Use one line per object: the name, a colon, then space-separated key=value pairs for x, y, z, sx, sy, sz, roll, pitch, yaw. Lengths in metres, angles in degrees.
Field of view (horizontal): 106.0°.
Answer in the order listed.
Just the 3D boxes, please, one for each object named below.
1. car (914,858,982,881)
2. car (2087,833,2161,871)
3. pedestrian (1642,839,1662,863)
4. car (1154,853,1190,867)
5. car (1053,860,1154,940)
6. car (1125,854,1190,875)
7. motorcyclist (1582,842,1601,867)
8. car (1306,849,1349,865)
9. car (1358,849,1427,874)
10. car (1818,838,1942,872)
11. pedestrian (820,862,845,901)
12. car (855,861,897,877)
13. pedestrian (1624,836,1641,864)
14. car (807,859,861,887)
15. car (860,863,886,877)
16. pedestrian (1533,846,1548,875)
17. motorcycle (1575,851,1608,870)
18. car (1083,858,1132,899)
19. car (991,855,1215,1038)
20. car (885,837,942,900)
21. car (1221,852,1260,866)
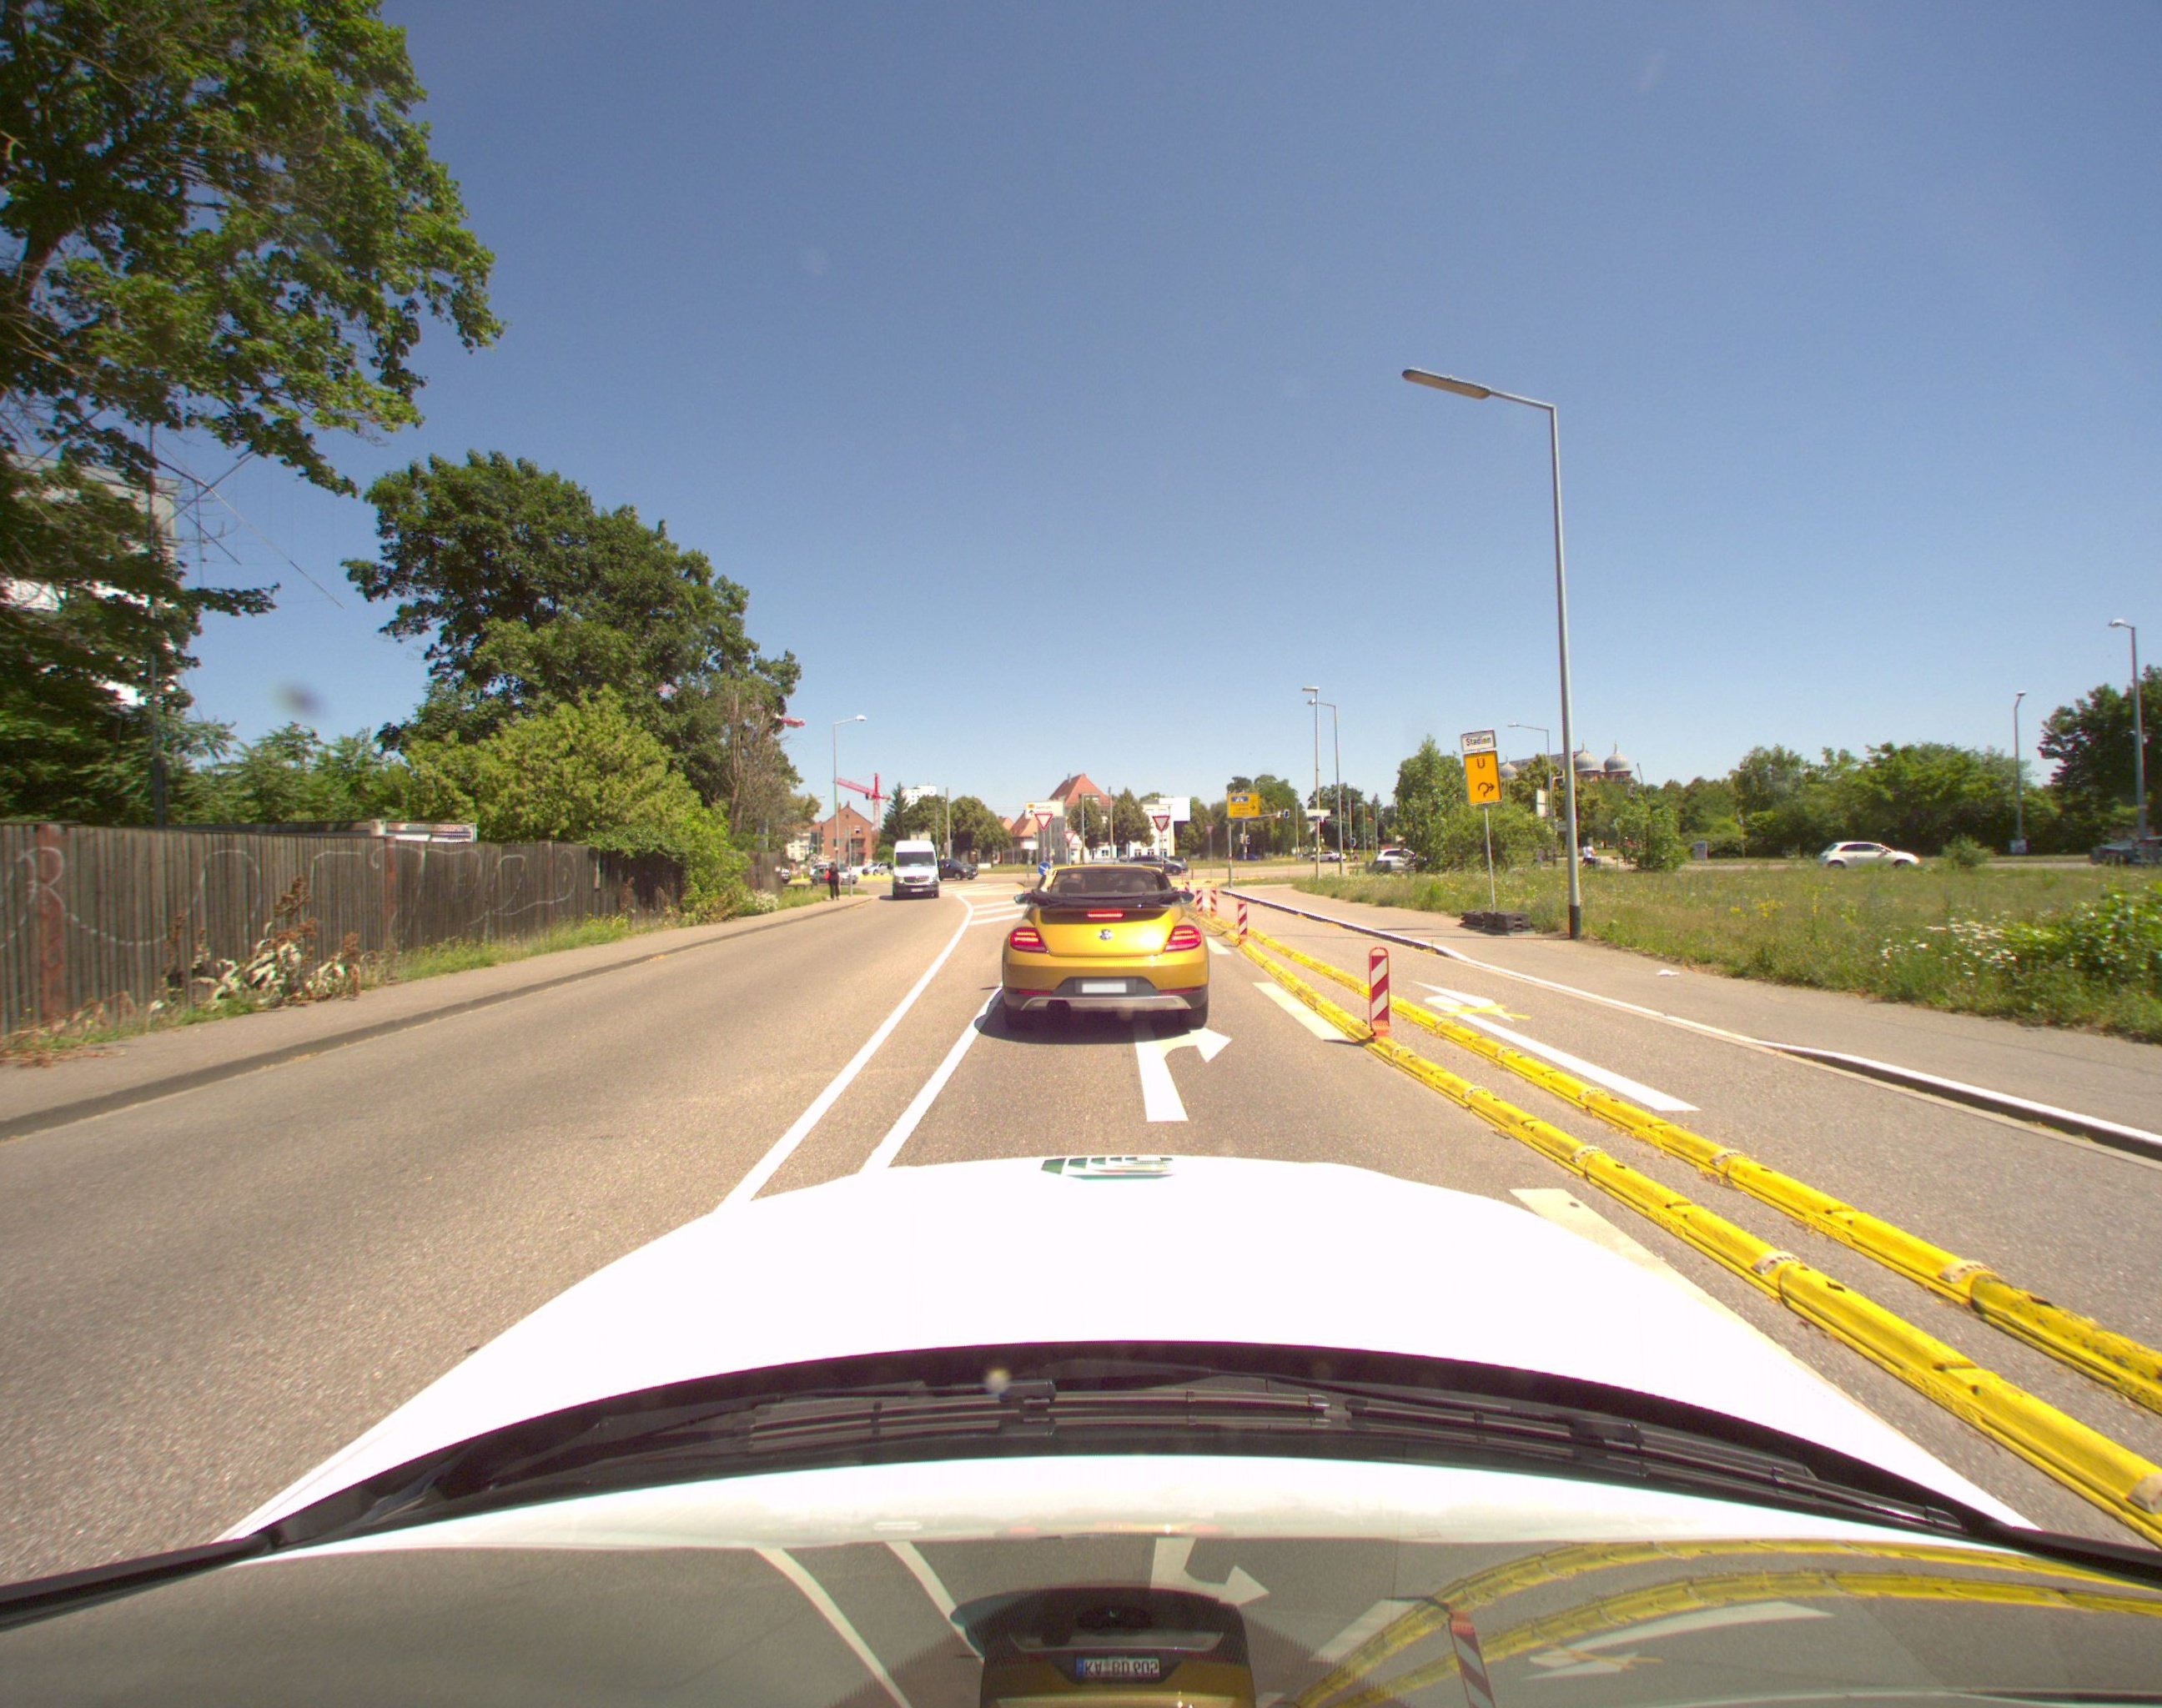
car: x=-9.671 y=1.106 z=59.396 sx=4.403 sy=1.596 sz=2.007 roll=-1 pitch=-1 yaw=12
car: x=44.598 y=-0.082 z=33.132 sx=4.352 sy=1.552 sz=1.751 roll=0 pitch=0 yaw=39
pedestrian: x=38.362 y=-0.207 z=54.723 sx=0.789 sy=1.563 sz=0.823 roll=-1 pitch=-1 yaw=3
car: x=12.968 y=0.912 z=116.423 sx=4.883 sy=1.786 sz=2.033 roll=-3 pitch=-1 yaw=12
car: x=0.488 y=0.857 z=16.984 sx=1.841 sy=1.442 sz=4.002 roll=-1 pitch=-1 yaw=2
car: x=5.340 y=0.729 z=56.604 sx=4.161 sy=1.391 sz=1.910 roll=-1 pitch=-1 yaw=17
motorcyclist: x=26.261 y=0.031 z=41.903 sx=0.616 sy=1.289 sz=0.576 roll=0 pitch=-1 yaw=-27
car: x=31.169 y=0.414 z=103.181 sx=2.033 sy=1.786 sz=5.130 roll=-2 pitch=-1 yaw=-30
car: x=20.137 y=0.462 z=52.795 sx=3.962 sy=1.552 sz=1.745 roll=-1 pitch=-1 yaw=10
car: x=38.365 y=0.082 z=39.232 sx=3.948 sy=1.552 sz=1.751 roll=-1 pitch=-1 yaw=33
pedestrian: x=-10.376 y=1.134 z=34.032 sx=0.806 sy=1.563 sz=0.876 roll=-1 pitch=-1 yaw=-2
car: x=-26.743 y=1.931 z=106.451 sx=2.001 sy=1.786 sz=4.931 roll=-3 pitch=-1 yaw=43
pedestrian: x=36.869 y=-0.281 z=54.464 sx=0.647 sy=1.870 sz=0.737 roll=-1 pitch=-1 yaw=3
car: x=-18.085 y=1.421 z=59.598 sx=3.630 sy=1.850 sz=1.643 roll=-3 pitch=-1 yaw=31
car: x=-23.435 y=1.765 z=91.733 sx=1.749 sy=1.549 sz=4.002 roll=-1 pitch=-1 yaw=2
pedestrian: x=24.583 y=0.357 z=43.607 sx=0.495 sy=1.563 sz=0.514 roll=-1 pitch=-1 yaw=1
motorcycle: x=26.240 y=0.319 z=41.855 sx=1.712 sy=0.970 sz=0.625 roll=0 pitch=-1 yaw=-28
car: x=1.014 y=0.906 z=31.241 sx=1.730 sy=1.442 sz=4.002 roll=-1 pitch=-1 yaw=2
car: x=0.230 y=0.744 z=8.313 sx=1.746 sy=1.422 sz=3.778 roll=-1 pitch=-1 yaw=2
car: x=-7.800 y=0.664 z=37.365 sx=2.024 sy=2.539 sz=6.790 roll=-2 pitch=0 yaw=-16
car: x=21.996 y=0.702 z=112.396 sx=4.875 sy=1.786 sz=2.036 roll=-3 pitch=-1 yaw=19
